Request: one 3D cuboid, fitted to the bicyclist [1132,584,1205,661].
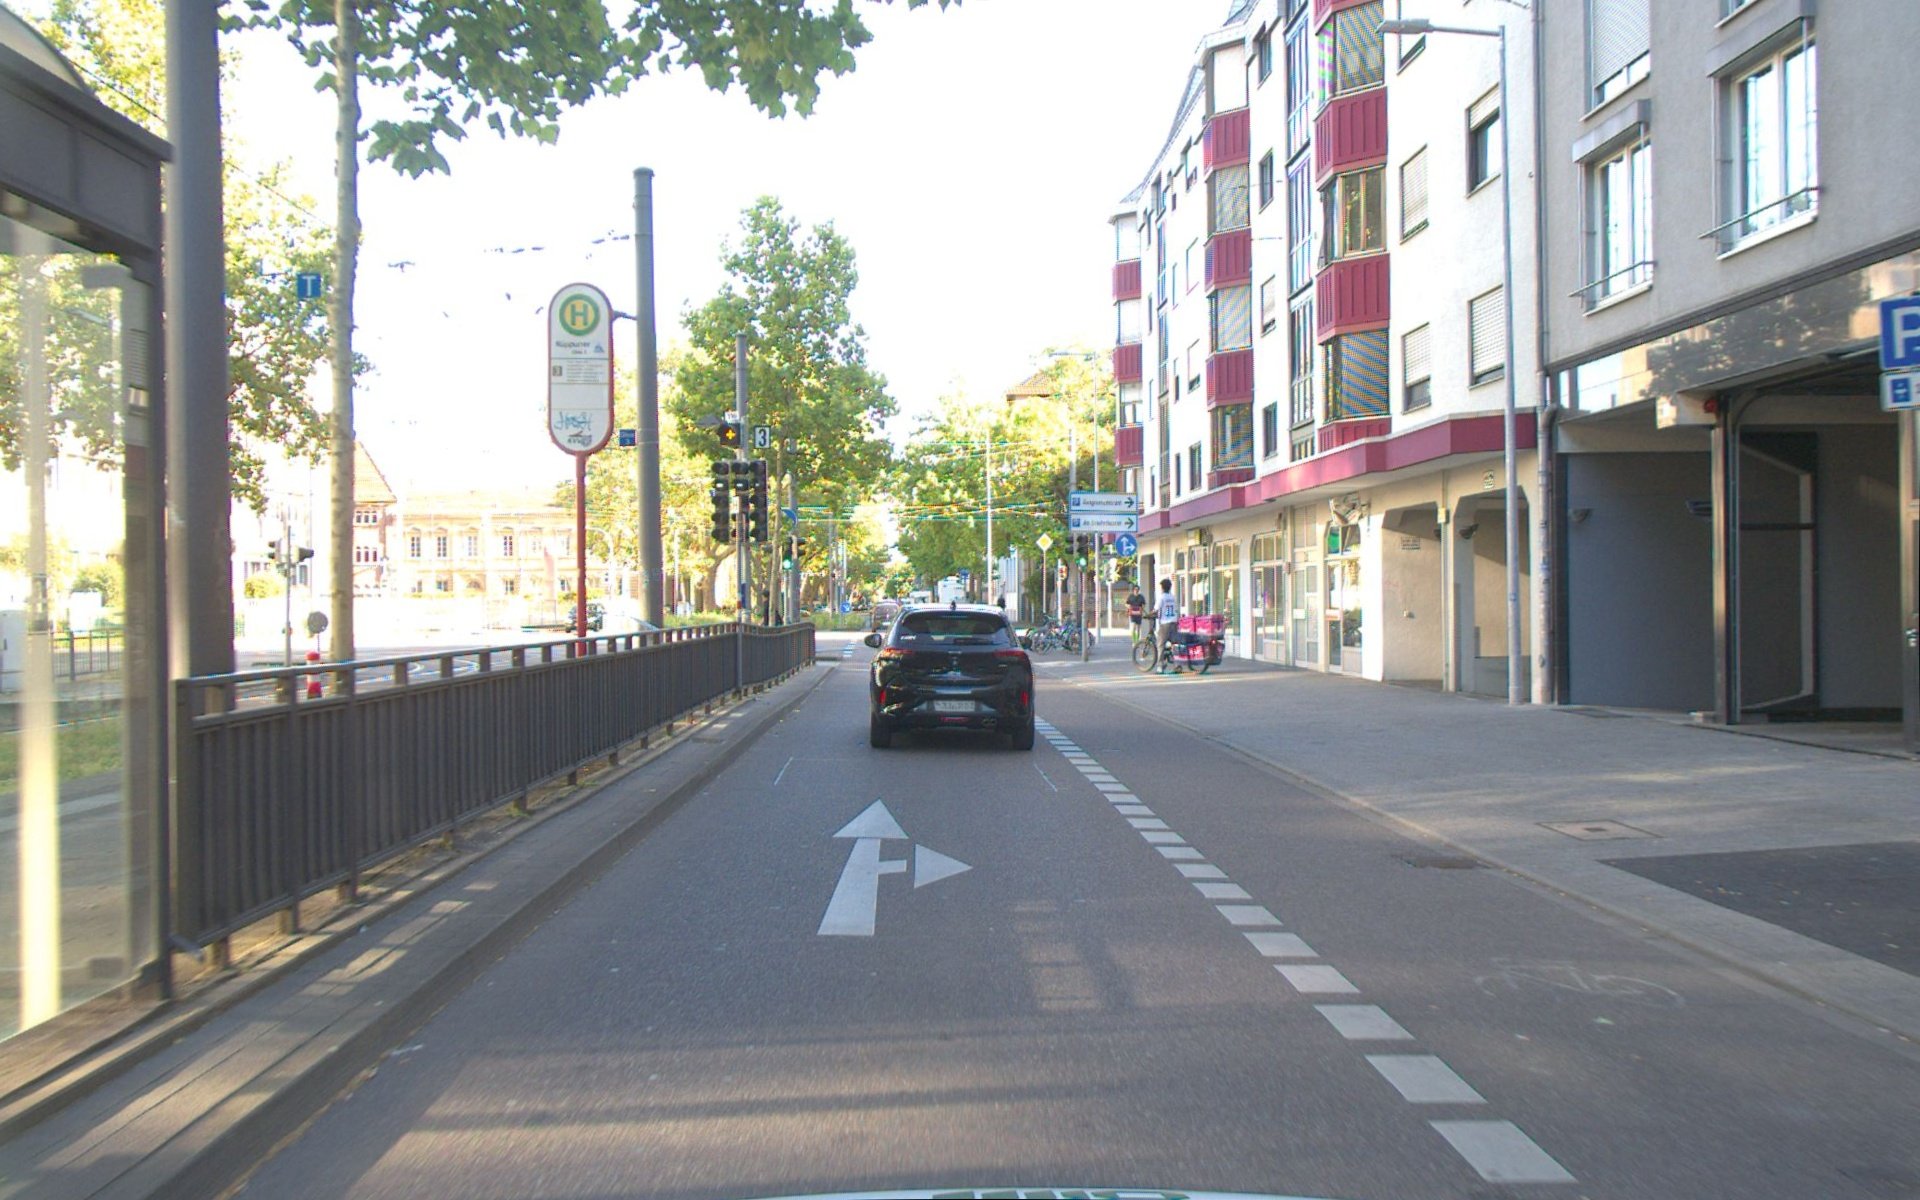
[{"bbox_3d":[4.341,0.464,34.382,1.050,1.567,1.064,-1,0,-39],"label":"bicyclist"}]

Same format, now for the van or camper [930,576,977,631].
[{"bbox_3d":[-0.454,0.228,103.102,2.329,3.179,7.546,-4,0,-3],"label":"van or camper"}]

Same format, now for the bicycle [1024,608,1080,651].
[{"bbox_3d":[2.682,0.861,48.093,1.589,1.220,0.496,-1,0,2],"label":"bicycle"}]

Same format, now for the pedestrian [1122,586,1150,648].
[{"bbox_3d":[5.410,0.519,50.822,0.708,1.890,0.800,-1,0,-3],"label":"pedestrian"}]

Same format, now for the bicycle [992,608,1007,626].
[{"bbox_3d":[2.476,1.071,103.916,0.627,1.089,1.947,-1,-1,-8],"label":"bicycle"}]

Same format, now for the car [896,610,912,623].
[{"bbox_3d":[-6.454,1.857,190.763,1.866,1.450,4.214,-1,0,-1],"label":"car"}]

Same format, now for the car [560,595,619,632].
[{"bbox_3d":[-20.507,0.735,91.625,1.951,1.982,4.426,-1,0,4],"label":"car"}]

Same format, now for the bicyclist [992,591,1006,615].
[{"bbox_3d":[2.455,0.185,103.948,0.735,1.536,0.701,-1,0,-8],"label":"bicyclist"}]

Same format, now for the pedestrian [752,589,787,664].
[{"bbox_3d":[-4.528,0.623,39.385,0.719,1.777,0.712,0,0,3],"label":"pedestrian"}]

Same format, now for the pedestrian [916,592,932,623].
[{"bbox_3d":[-2.366,0.486,108.835,1.015,2.059,1.212,0,0,-3],"label":"pedestrian"}]

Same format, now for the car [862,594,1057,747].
[{"bbox_3d":[-0.046,0.676,18.086,1.866,1.450,4.214,-1,0,-1],"label":"car"}]

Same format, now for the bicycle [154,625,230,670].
[{"bbox_3d":[-17.249,1.055,37.177,0.796,0.962,1.726,-1,0,4],"label":"bicycle"}]

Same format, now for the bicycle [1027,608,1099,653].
[{"bbox_3d":[2.866,0.842,46.022,1.902,1.191,0.571,-1,0,-5],"label":"bicycle"}]

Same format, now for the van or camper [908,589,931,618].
[{"bbox_3d":[-4.320,0.363,176.392,2.436,3.046,5.432,1,0,-1],"label":"van or camper"}]

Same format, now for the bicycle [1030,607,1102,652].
[{"bbox_3d":[2.976,0.817,46.657,1.939,1.220,0.590,-1,0,-7],"label":"bicycle"}]

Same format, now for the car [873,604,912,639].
[{"bbox_3d":[-3.292,1.040,80.884,1.795,1.651,4.283,1,0,-1],"label":"car"}]

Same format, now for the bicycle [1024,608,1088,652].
[{"bbox_3d":[2.747,0.855,47.525,1.793,1.242,0.496,-1,0,1],"label":"bicycle"}]

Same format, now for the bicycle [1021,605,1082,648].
[{"bbox_3d":[2.686,0.787,48.842,1.764,1.220,0.546,-1,-1,2],"label":"bicycle"}]

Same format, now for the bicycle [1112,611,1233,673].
[{"bbox_3d":[4.386,0.854,34.337,0.954,1.204,2.561,-1,0,-39],"label":"bicycle"}]
